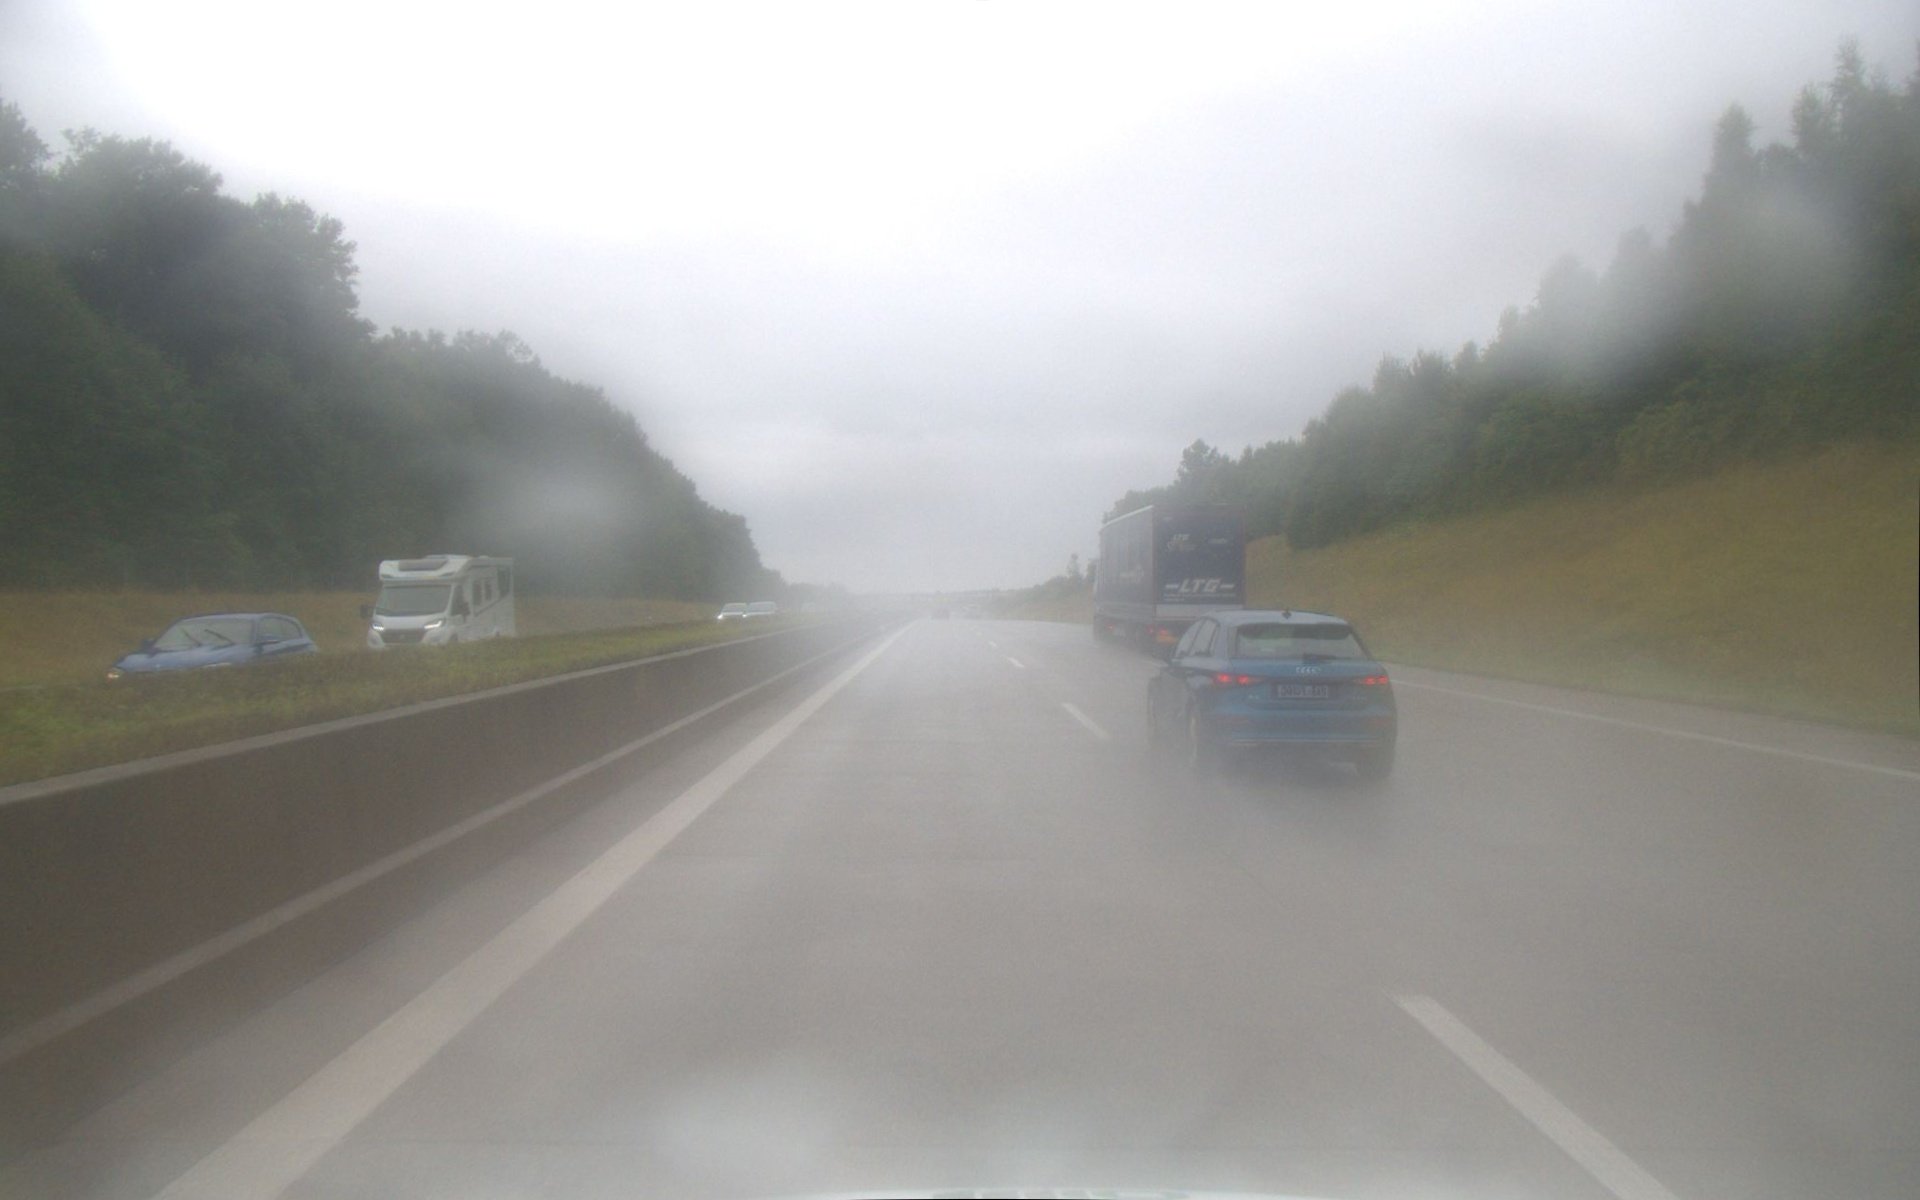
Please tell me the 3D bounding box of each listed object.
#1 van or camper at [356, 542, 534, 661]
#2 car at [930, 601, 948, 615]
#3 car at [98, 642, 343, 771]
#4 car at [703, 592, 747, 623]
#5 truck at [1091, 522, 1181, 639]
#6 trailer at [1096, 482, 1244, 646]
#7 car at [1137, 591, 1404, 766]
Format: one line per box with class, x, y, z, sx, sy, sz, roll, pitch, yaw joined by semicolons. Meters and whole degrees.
van or camper;-13.348;0.065;43.552;2.363;2.783;7.711;-1;0;-1
car;-2.073;0.787;163.728;1.694;1.354;4.429;0;0;-1
car;-10.596;1.465;24.073;1.630;1.543;4.464;-1;0;-1
car;-13.301;0.423;93.812;1.841;1.694;4.686;-2;0;-1
truck;6.329;-0.668;60.213;2.582;4.023;5.685;1;0;0
trailer;6.369;-0.944;52.913;2.651;4.456;15.202;1;0;0
car;2.917;0.715;16.523;1.694;1.484;4.671;-1;-1;-1
